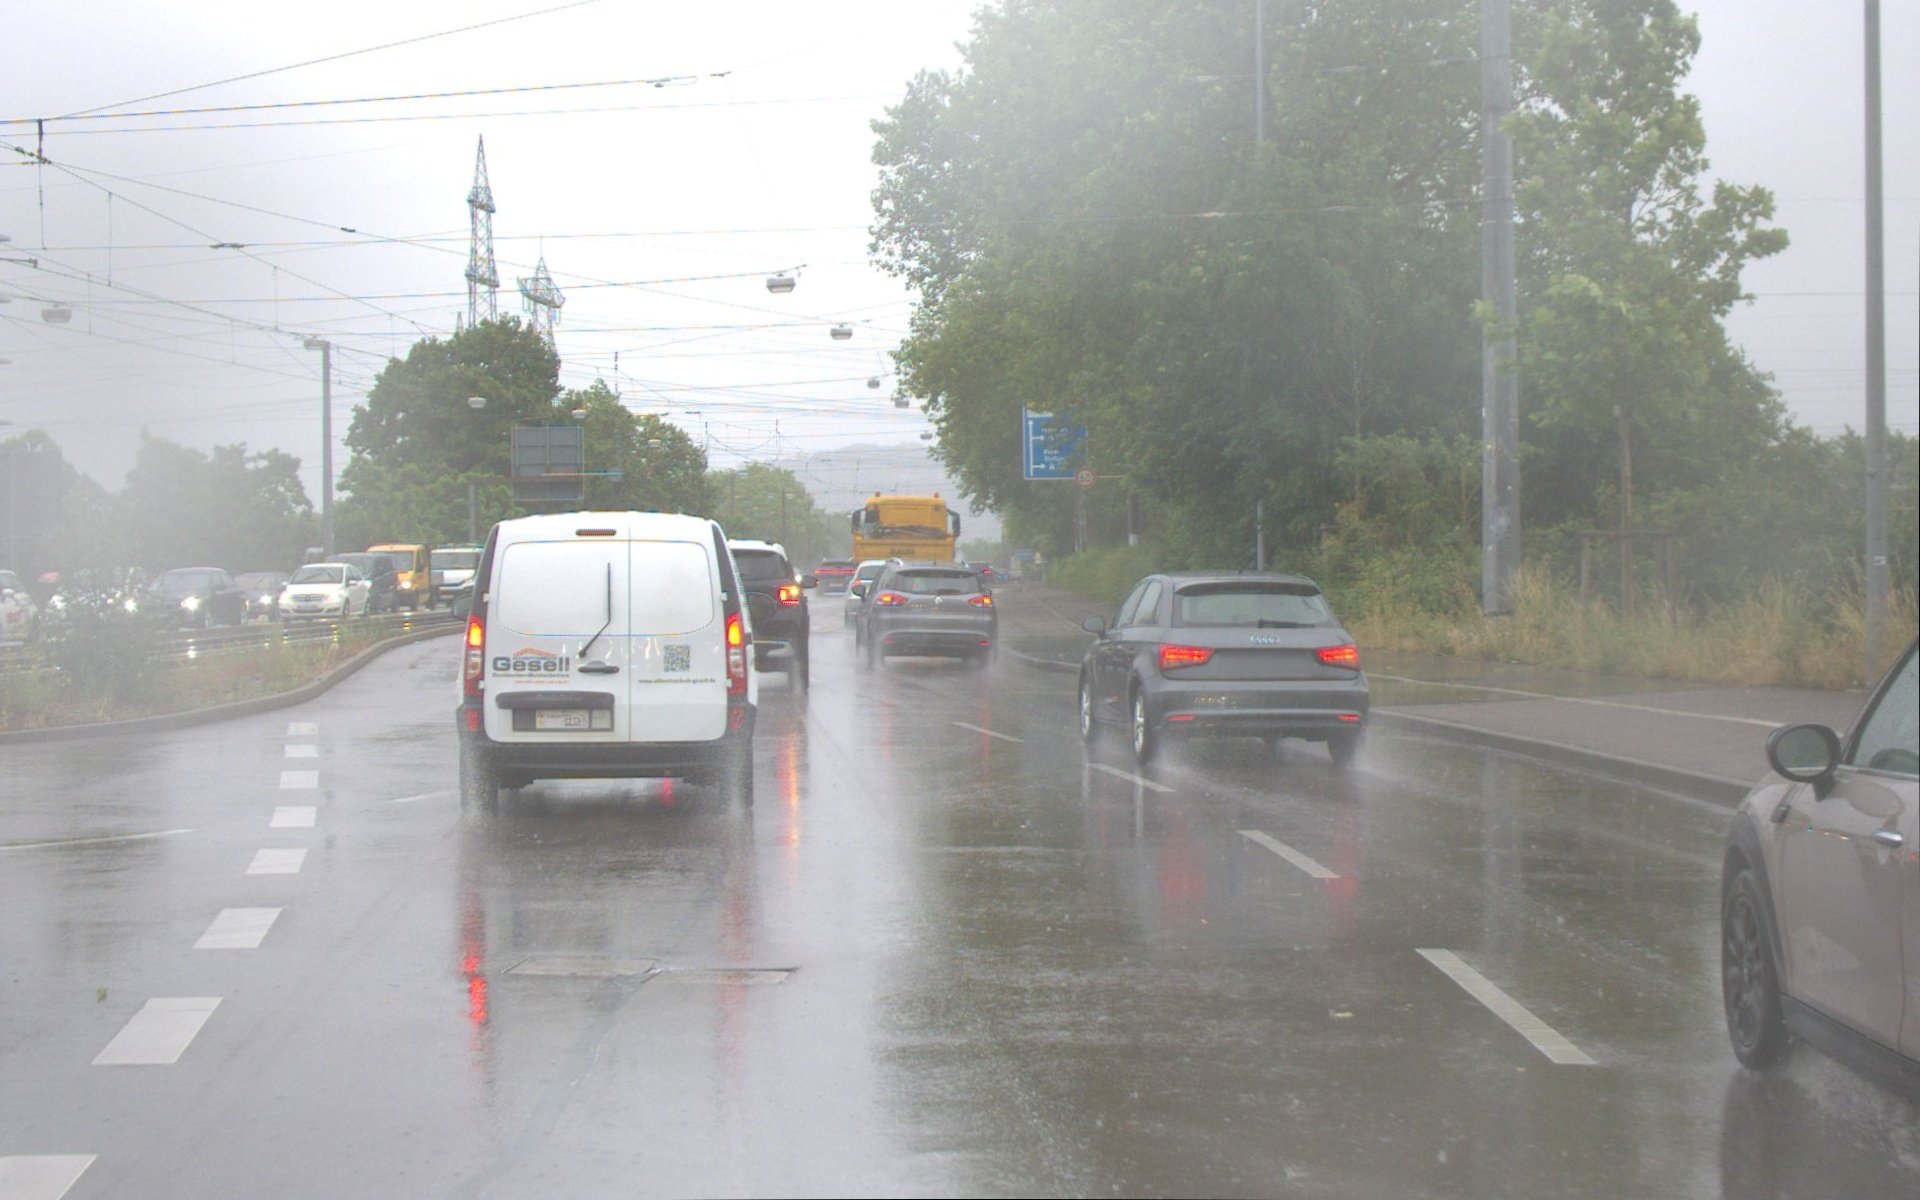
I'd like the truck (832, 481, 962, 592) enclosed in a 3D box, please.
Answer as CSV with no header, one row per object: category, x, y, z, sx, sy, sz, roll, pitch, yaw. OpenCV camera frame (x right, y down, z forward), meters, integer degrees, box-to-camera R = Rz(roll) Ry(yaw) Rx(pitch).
truck,-1.575,-1.638,89.076,3.113,2.764,6.329,0,1,1

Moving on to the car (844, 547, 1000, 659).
car,-0.558,0.009,46.753,1.818,1.409,3.779,0,1,-5

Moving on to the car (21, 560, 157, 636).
car,-20.686,-0.075,81.794,1.907,1.601,4.842,2,1,1

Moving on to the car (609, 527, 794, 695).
car,-2.822,0.067,37.992,1.899,1.711,4.726,0,1,-3

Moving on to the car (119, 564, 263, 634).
car,-17.575,-0.057,78.824,1.923,1.418,5.083,1,2,3

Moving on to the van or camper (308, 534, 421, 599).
van or camper,-19.307,-1.087,111.727,2.305,2.007,5.685,1,1,4

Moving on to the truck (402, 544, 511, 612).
truck,-19.049,-0.866,130.478,2.435,2.449,7.218,1,1,5

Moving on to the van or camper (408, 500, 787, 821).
van or camper,-2.156,0.288,21.492,1.993,1.778,4.001,1,2,-1

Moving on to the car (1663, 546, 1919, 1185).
car,3.086,0.591,8.906,1.791,1.409,3.854,0,1,1

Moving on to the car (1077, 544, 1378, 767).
car,1.953,0.358,26.256,1.967,1.523,3.991,0,1,0

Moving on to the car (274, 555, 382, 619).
car,-16.945,-0.380,92.388,1.873,1.568,4.328,1,2,3

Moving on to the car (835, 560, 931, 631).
car,-1.609,-0.112,73.154,1.818,1.409,3.778,1,1,2

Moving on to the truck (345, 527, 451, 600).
truck,-19.685,-1.270,120.661,2.227,2.453,6.066,1,1,5

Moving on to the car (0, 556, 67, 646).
car,-17.898,0.001,62.800,1.712,1.530,4.047,1,2,6

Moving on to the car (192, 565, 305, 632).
car,-20.112,-0.059,97.349,1.994,1.828,4.692,-1,0,3
